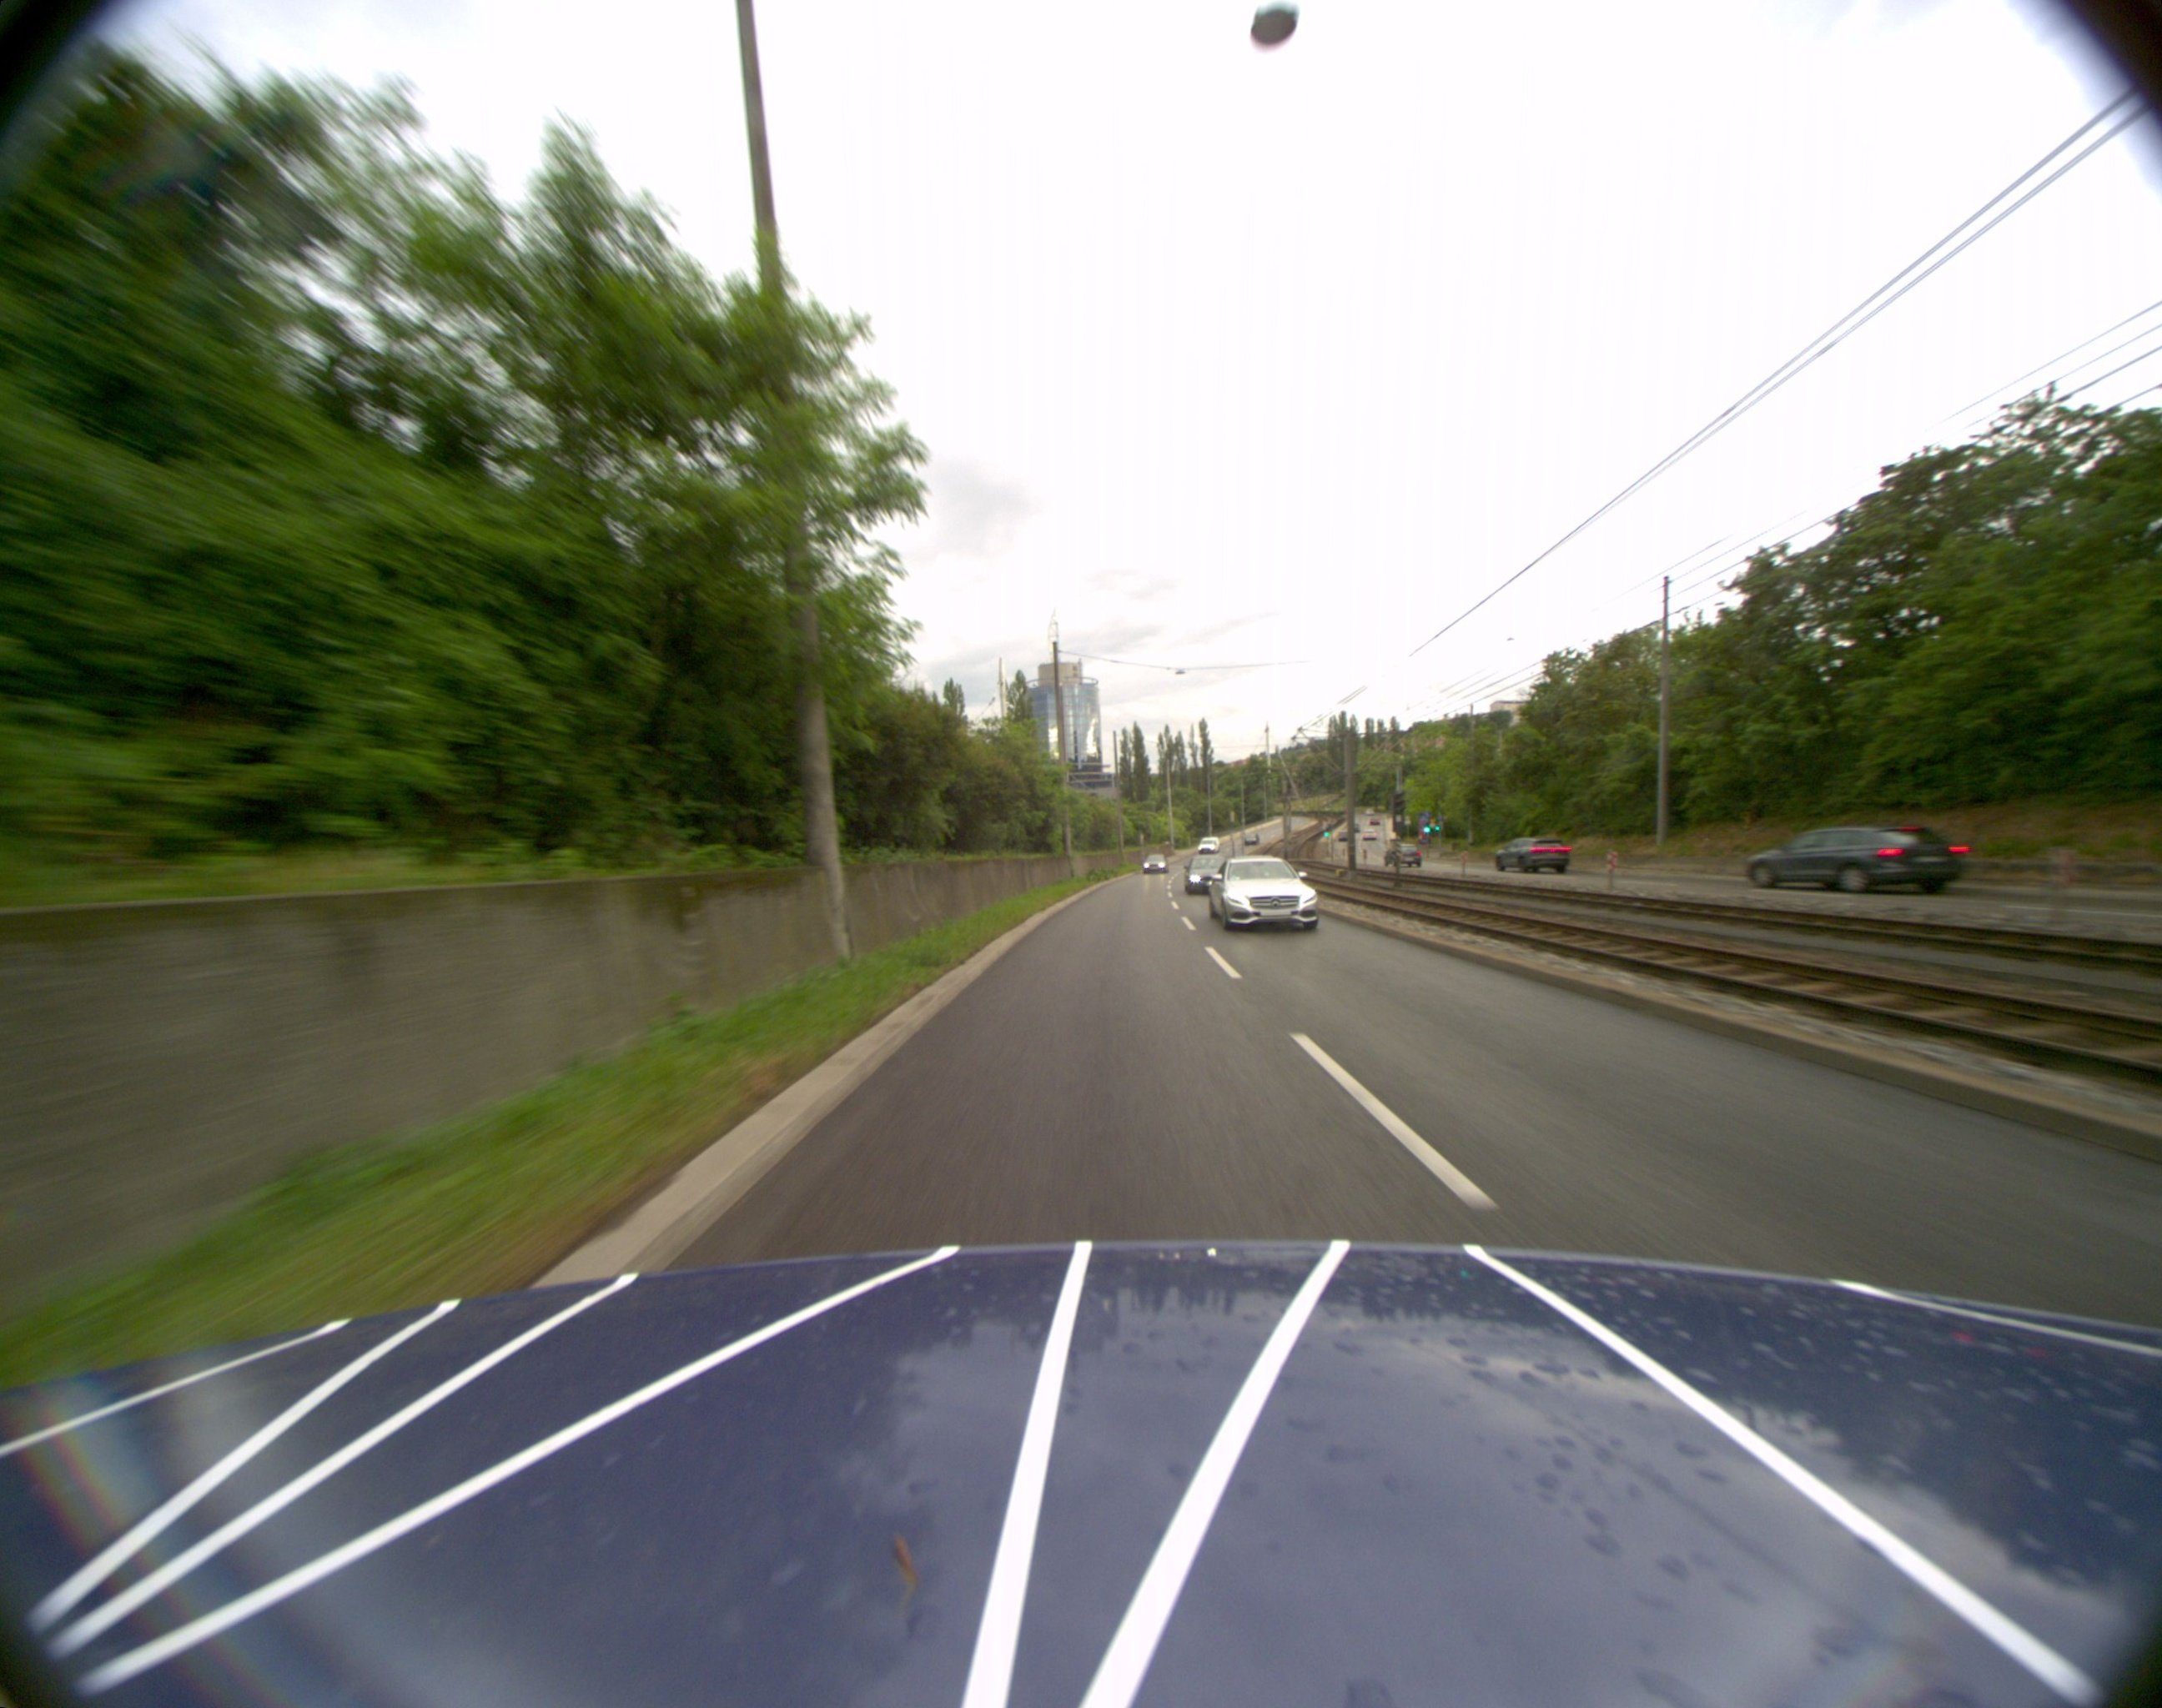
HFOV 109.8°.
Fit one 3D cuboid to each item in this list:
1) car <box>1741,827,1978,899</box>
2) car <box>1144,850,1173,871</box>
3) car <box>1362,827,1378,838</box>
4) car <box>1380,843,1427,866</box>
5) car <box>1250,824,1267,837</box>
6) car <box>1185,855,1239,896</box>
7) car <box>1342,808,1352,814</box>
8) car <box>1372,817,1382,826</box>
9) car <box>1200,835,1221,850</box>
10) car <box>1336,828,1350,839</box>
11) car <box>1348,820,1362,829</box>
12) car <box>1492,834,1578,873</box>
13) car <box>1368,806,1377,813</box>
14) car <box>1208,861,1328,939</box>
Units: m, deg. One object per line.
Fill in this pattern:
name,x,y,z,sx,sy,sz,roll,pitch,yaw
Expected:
car,19.464,0.192,19.337,1.711,1.598,4.412,0,0,4
car,5.965,0.480,58.087,1.766,1.492,4.003,-2,1,11
car,41.157,-3.033,108.185,1.821,1.372,4.710,-1,1,16
car,20.662,0.013,48.816,1.709,1.406,4.034,-2,0,7
car,25.064,-3.276,107.204,1.765,1.806,4.005,-2,0,20
car,4.962,0.778,29.266,1.735,1.344,4.001,-2,0,6
car,74.034,-11.945,211.549,1.851,1.589,4.732,-1,4,9
car,56.608,-6.241,145.405,1.717,1.451,4.279,-1,4,22
car,16.242,-1.475,95.138,1.765,1.806,4.006,-2,0,22
car,37.007,-2.921,107.374,1.863,1.431,4.859,-2,3,19
car,45.558,-4.876,126.287,1.635,1.377,3.897,0,2,13
car,21.495,-0.033,36.215,1.787,1.660,4.742,-2,0,8
car,73.305,-11.207,190.963,1.823,1.507,4.531,-1,5,18
car,3.823,0.879,16.193,1.871,1.348,4.061,-1,0,5
